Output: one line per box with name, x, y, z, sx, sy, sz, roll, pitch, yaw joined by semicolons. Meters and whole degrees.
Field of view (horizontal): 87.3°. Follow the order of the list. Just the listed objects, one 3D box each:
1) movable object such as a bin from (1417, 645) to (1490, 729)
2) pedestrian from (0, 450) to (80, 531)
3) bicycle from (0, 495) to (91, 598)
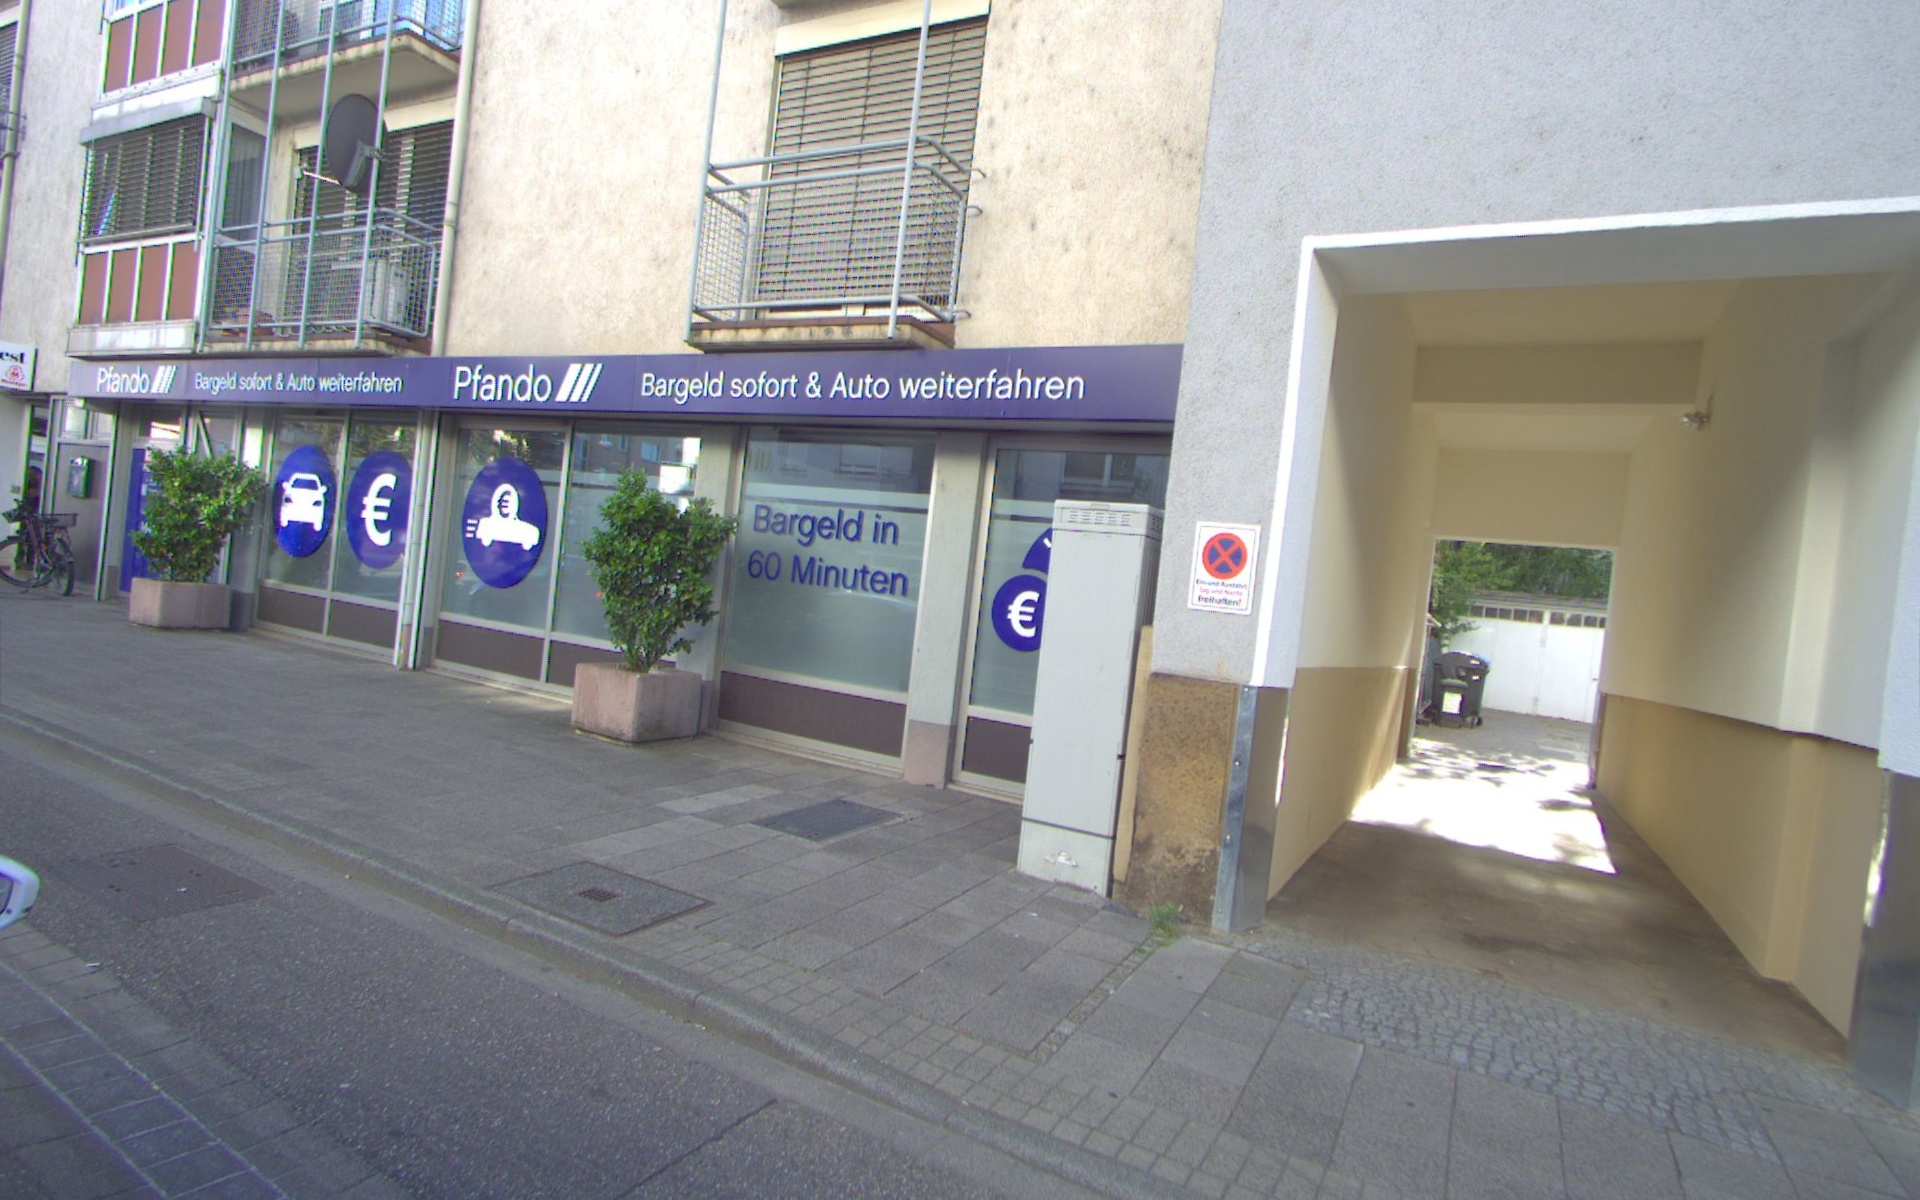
movable object such as a bin;10.013;1.761;20.378;1.092;1.511;1.329;6;-2;30
pedestrian;-14.211;-1.675;15.507;0.667;1.102;0.624;7;2;-5
bicycle;-11.900;-0.705;12.895;1.747;1.176;0.497;6;0;29
